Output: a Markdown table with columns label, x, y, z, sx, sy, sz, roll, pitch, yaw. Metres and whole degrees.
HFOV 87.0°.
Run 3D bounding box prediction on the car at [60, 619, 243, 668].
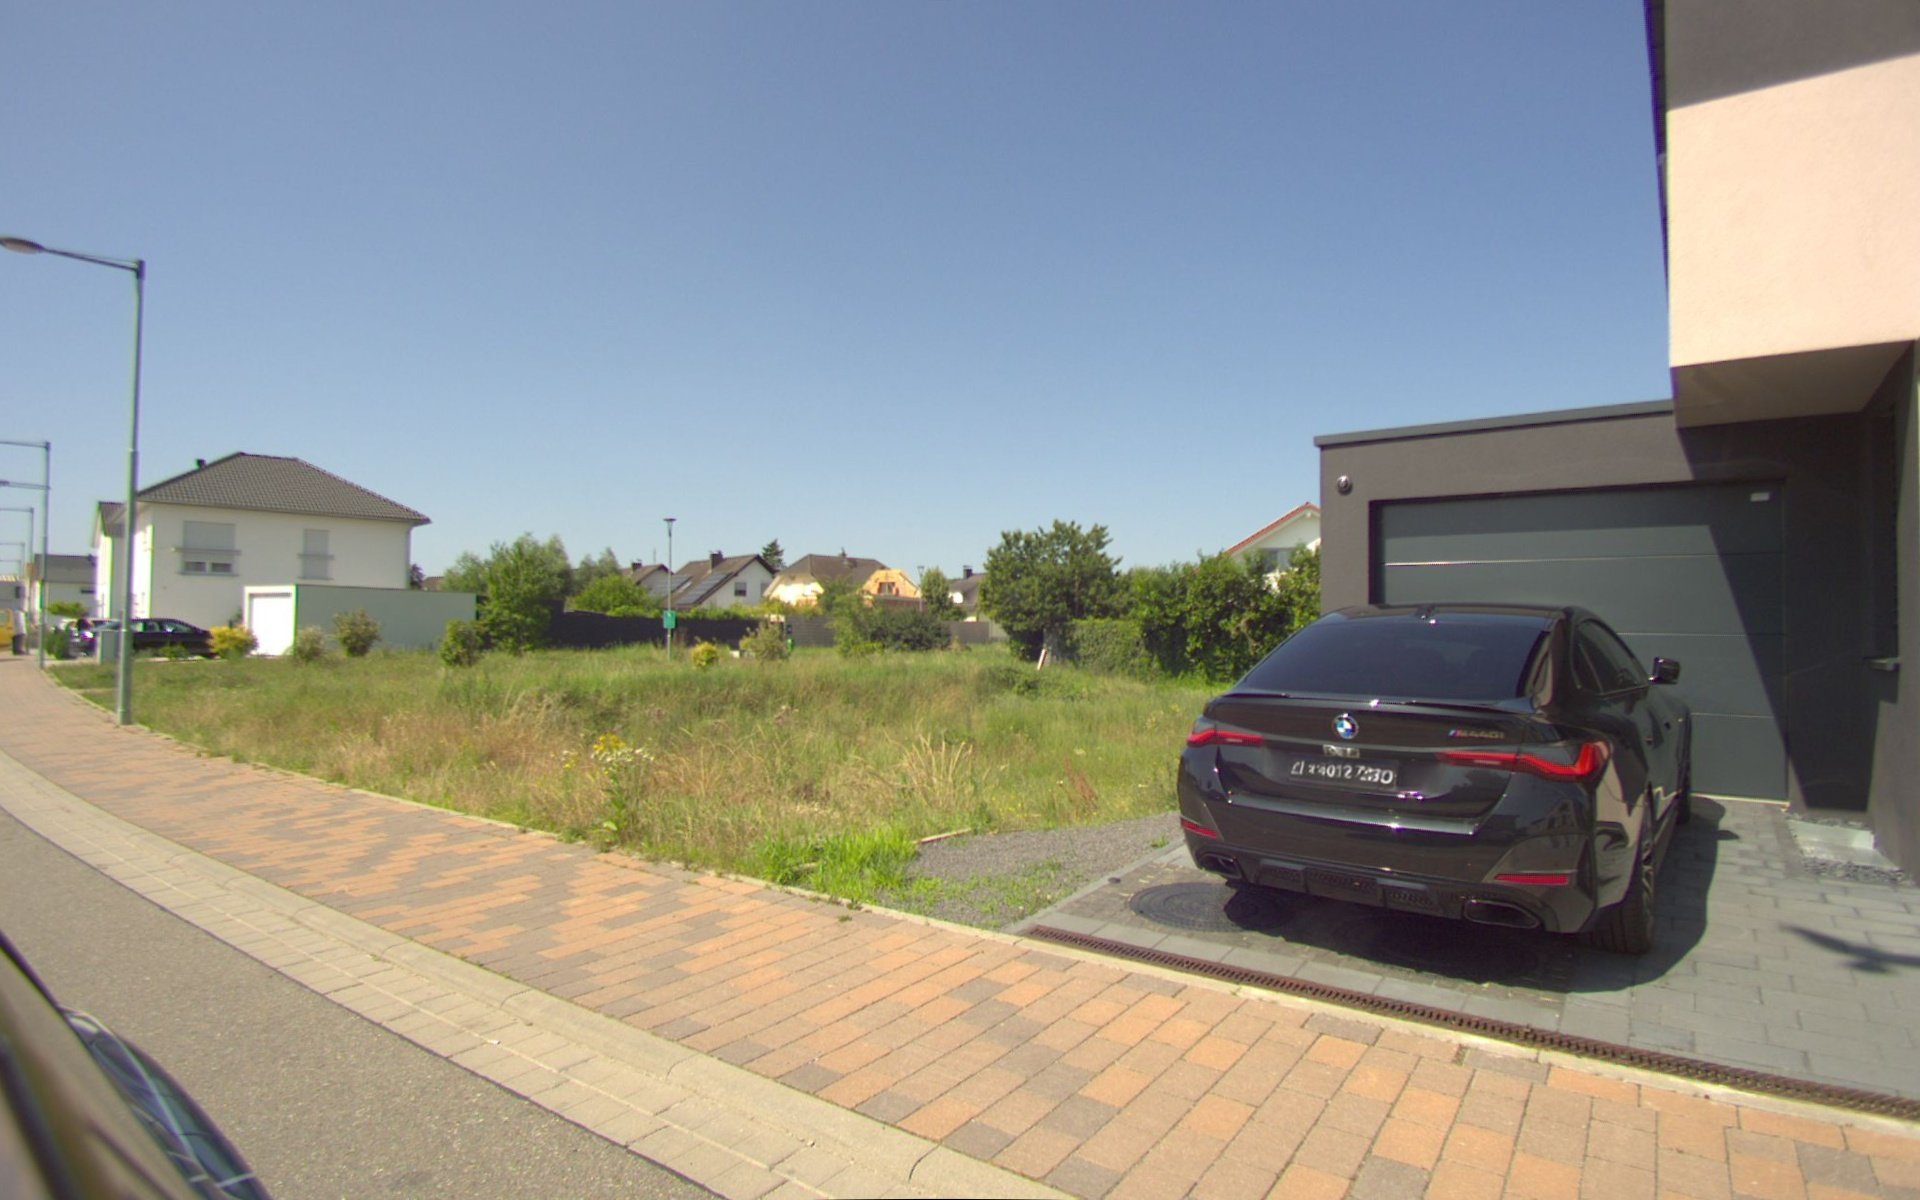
| label | x | y | z | sx | sy | sz | roll | pitch | yaw |
| --- | --- | --- | --- | --- | --- | --- | --- | --- | --- |
| car | -26.235 | 1.362 | 33.000 | 1.744 | 1.463 | 4.358 | -1 | -1 | 33 |

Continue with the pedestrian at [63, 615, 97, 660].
| label | x | y | z | sx | sy | sz | roll | pitch | yaw |
| --- | --- | --- | --- | --- | --- | --- | --- | --- | --- |
| pedestrian | -34.599 | 1.463 | 39.791 | 0.917 | 1.698 | 0.538 | -1 | 0 | -35 |

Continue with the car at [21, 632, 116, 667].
| label | x | y | z | sx | sy | sz | roll | pitch | yaw |
| --- | --- | --- | --- | --- | --- | --- | --- | --- | --- |
| car | -50.423 | 2.769 | 57.251 | 3.939 | 1.866 | 2.002 | 2 | -2 | -43 |

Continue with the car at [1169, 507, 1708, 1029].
| label | x | y | z | sx | sy | sz | roll | pitch | yaw |
| --- | --- | --- | --- | --- | --- | --- | --- | --- | --- |
| car | 2.895 | 0.574 | 5.471 | 1.768 | 1.644 | 4.334 | -1 | -2 | 37 |
